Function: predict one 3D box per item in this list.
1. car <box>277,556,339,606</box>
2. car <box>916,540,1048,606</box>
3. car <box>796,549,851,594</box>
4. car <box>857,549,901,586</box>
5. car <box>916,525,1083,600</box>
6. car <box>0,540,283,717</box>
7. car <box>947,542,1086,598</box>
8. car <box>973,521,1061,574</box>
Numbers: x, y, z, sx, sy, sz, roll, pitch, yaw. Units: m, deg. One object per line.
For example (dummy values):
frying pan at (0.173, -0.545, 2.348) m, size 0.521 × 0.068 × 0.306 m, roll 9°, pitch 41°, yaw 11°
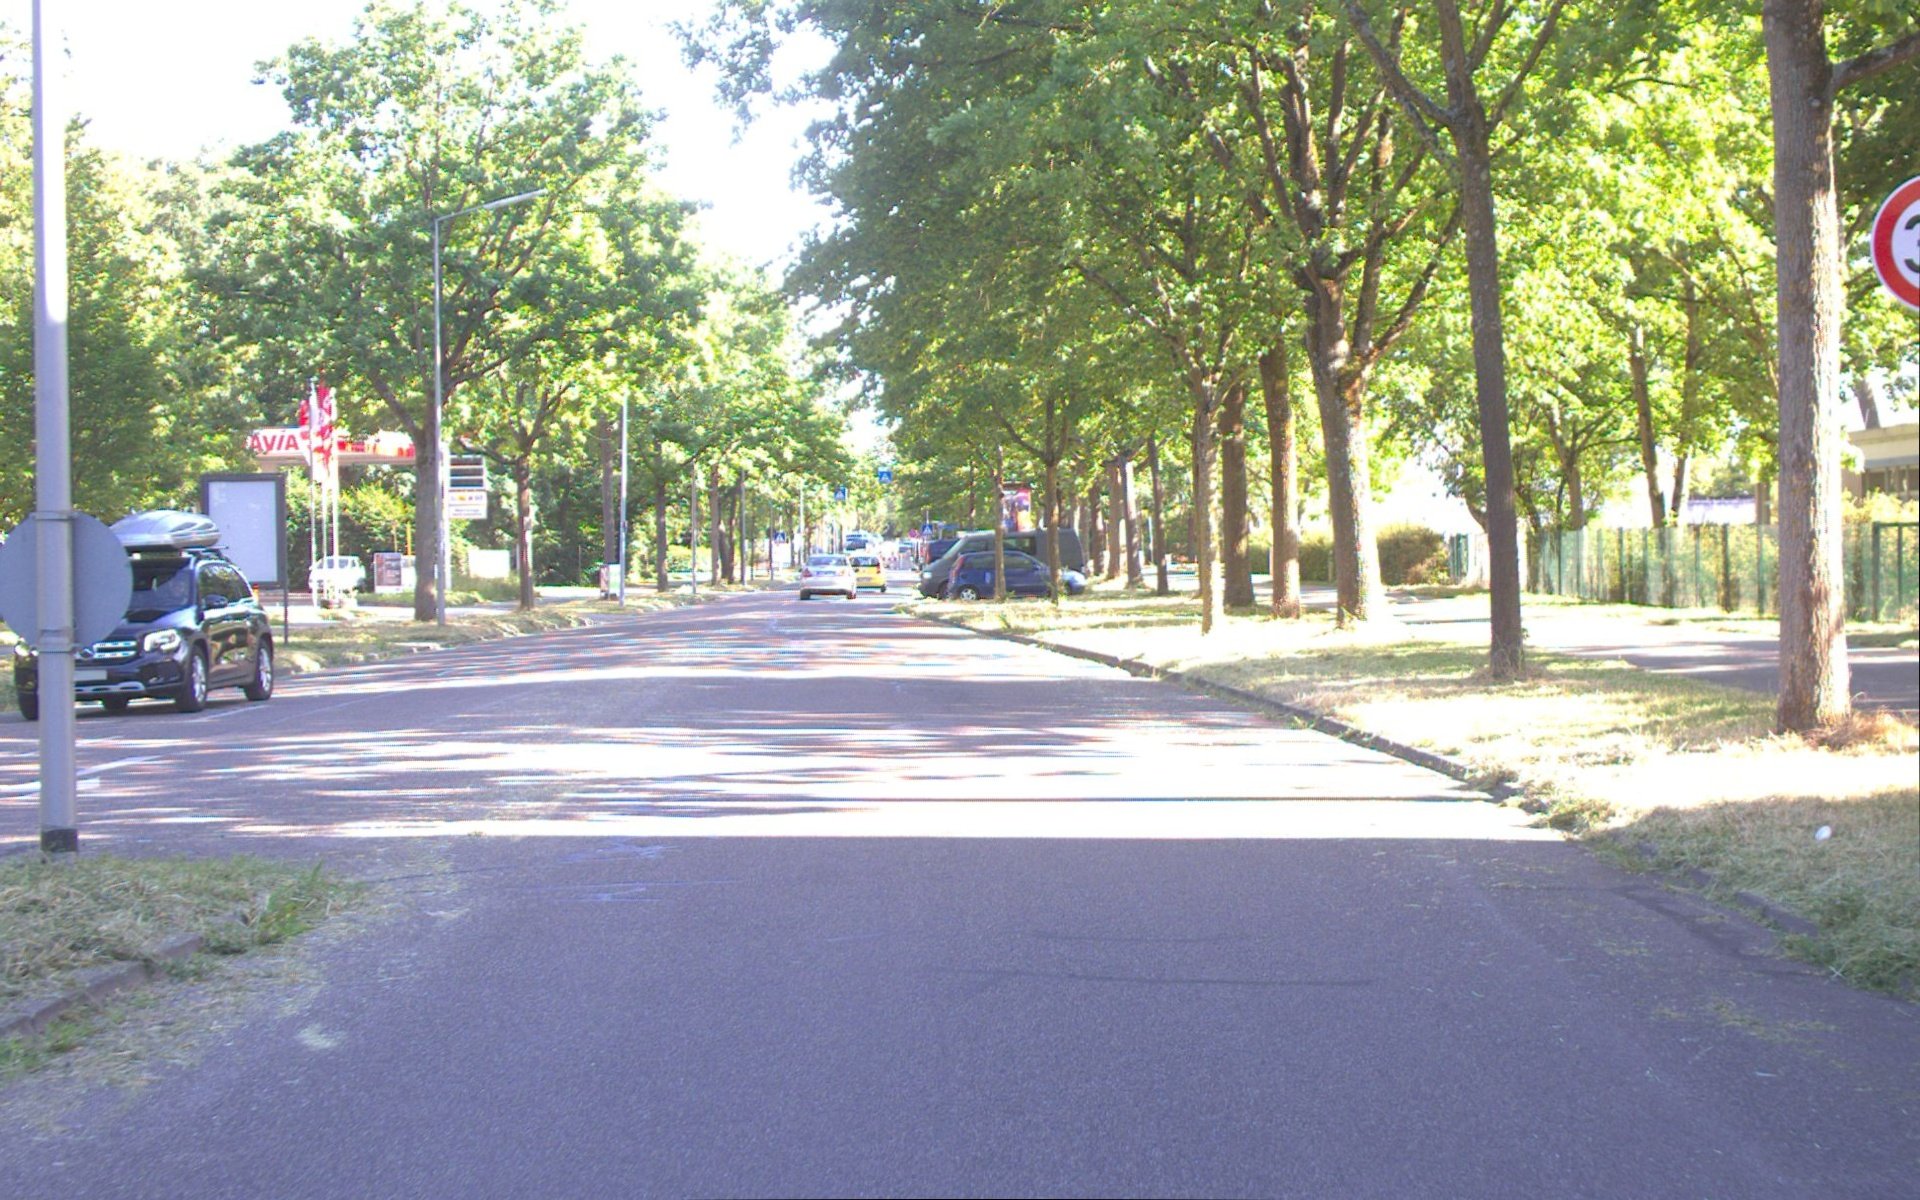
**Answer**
car at (-24.600, -0.702, 129.750) m, size 1.801 × 1.817 × 3.805 m, roll -1°, pitch 0°, yaw -3°
car at (0.606, -0.759, 97.518) m, size 3.653 × 1.791 × 1.317 m, roll -1°, pitch -1°, yaw -1°
car at (-4.314, -0.902, 108.887) m, size 1.661 × 1.332 × 3.665 m, roll -1°, pitch 0°, yaw -2°
car at (-3.166, -1.249, 134.264) m, size 1.661 × 1.332 × 3.665 m, roll -1°, pitch 0°, yaw -2°
car at (1.079, -1.021, 95.038) m, size 4.502 × 1.946 × 1.687 m, roll -1°, pitch -1°, yaw -1°
car at (-8.619, 0.251, 36.439) m, size 1.839 × 1.702 × 4.504 m, roll -2°, pitch 1°, yaw 2°
car at (1.498, -0.798, 92.065) m, size 3.653 × 1.393 × 1.317 m, roll -1°, pitch -1°, yaw -1°
car at (2.366, -2.211, 143.991) m, size 3.567 × 2.044 × 1.633 m, roll -1°, pitch -2°, yaw -1°
